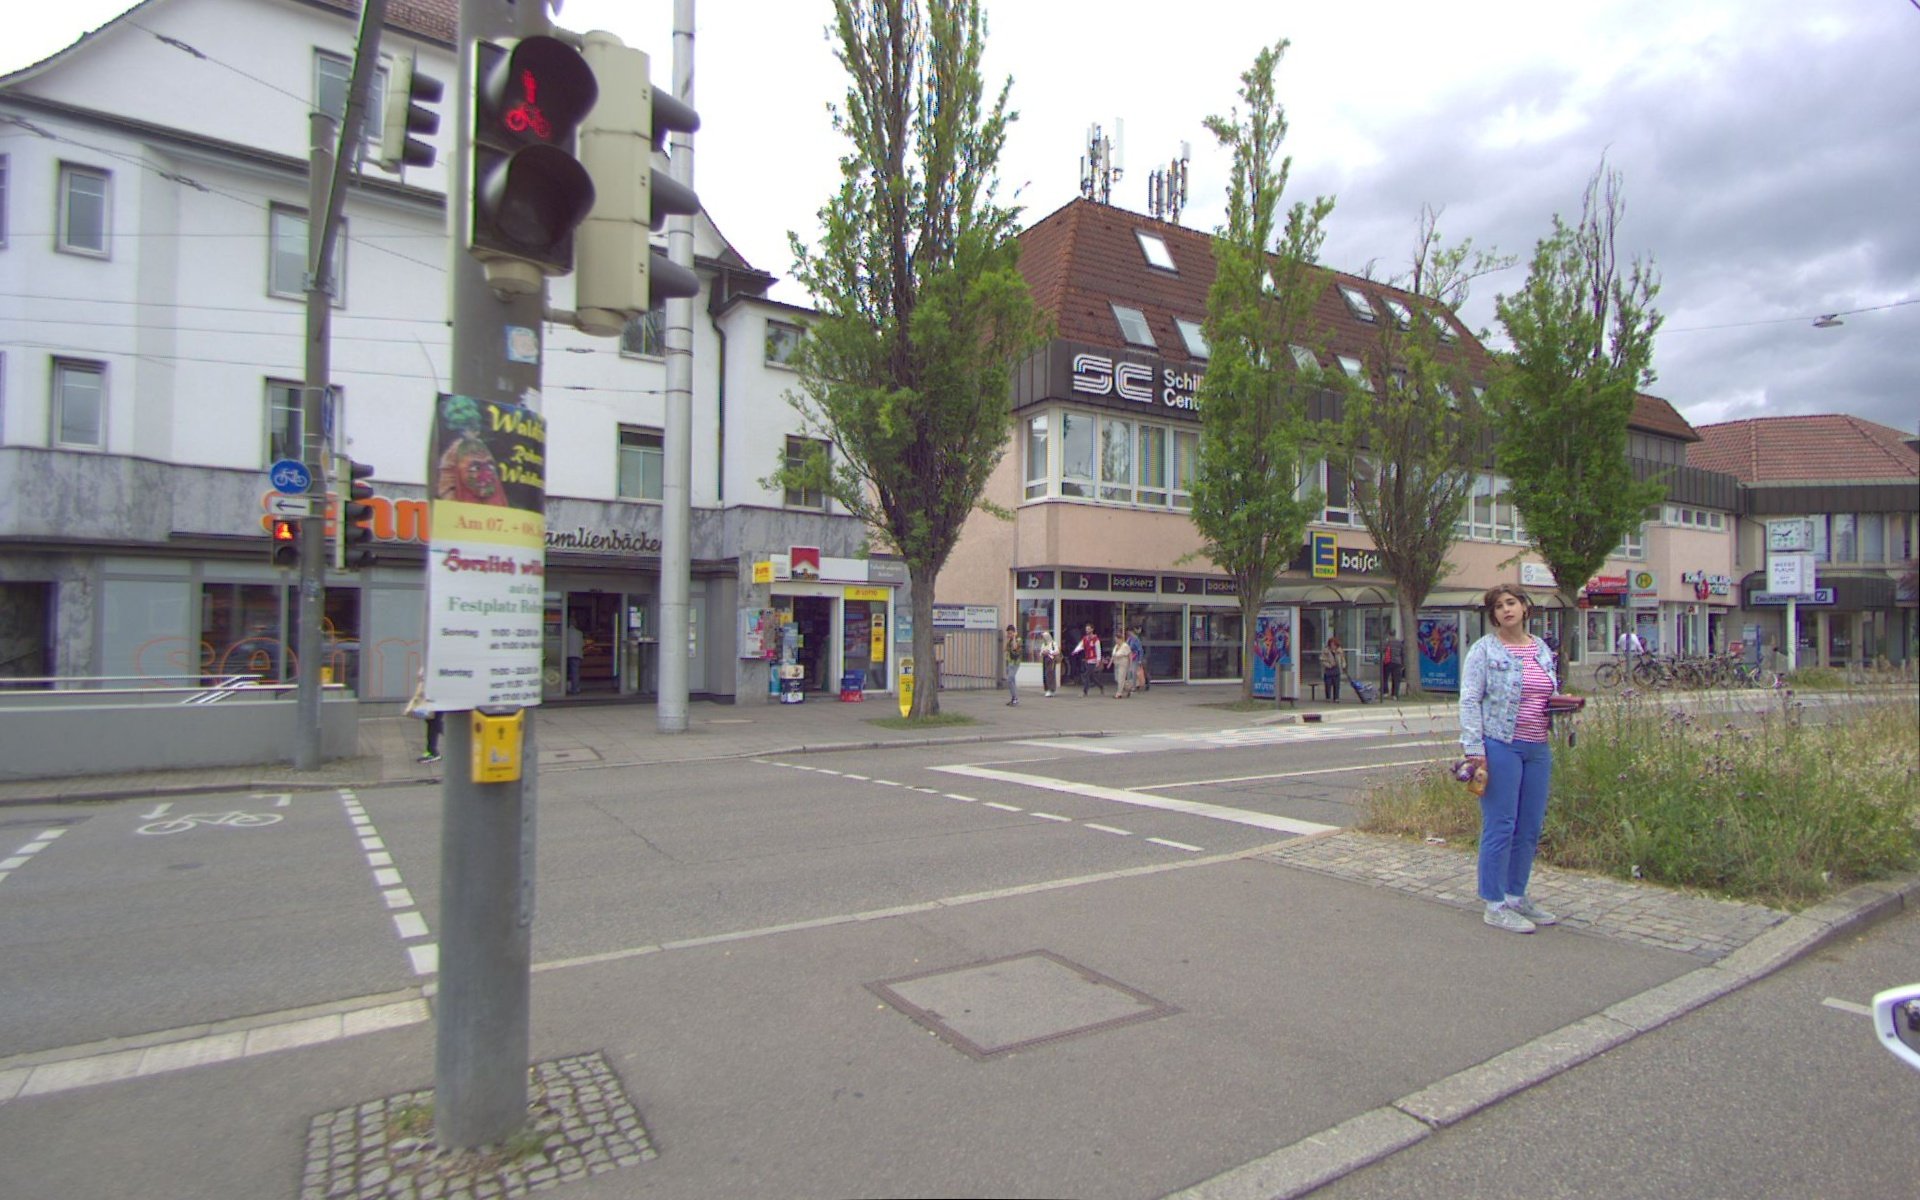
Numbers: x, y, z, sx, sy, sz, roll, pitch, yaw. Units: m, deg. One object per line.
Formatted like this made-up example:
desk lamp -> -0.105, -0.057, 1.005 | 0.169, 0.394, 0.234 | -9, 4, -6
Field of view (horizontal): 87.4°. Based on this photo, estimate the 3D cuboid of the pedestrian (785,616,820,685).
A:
pedestrian -> -3.901, 1.229, 24.800 | 0.584, 1.656, 0.607 | 0, 2, -43

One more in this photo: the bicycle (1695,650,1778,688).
bicycle -> 24.556, 2.158, 31.805 | 0.643, 1.104, 2.002 | 1, -2, -38

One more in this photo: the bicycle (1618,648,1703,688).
bicycle -> 21.077, 2.022, 30.247 | 0.642, 1.104, 2.006 | 1, -2, -34

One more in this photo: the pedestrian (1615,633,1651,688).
pedestrian -> 22.810, 2.029, 34.062 | 0.747, 1.788, 0.721 | 1, 2, -32

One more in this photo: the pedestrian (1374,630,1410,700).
pedestrian -> 10.652, 1.590, 24.775 | 0.709, 1.674, 0.580 | 0, 0, -44

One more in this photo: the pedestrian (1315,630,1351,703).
pedestrian -> 8.829, 1.551, 23.776 | 0.579, 1.674, 0.710 | 0, 0, 42

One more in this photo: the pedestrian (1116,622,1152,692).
pedestrian -> 4.419, 1.440, 25.505 | 0.608, 1.735, 0.583 | 1, 2, -31

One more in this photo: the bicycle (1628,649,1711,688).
bicycle -> 21.861, 2.095, 30.981 | 0.643, 1.104, 2.002 | 1, -2, -38

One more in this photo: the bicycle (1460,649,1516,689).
bicycle -> 15.150, 1.967, 28.789 | 1.909, 1.105, 0.530 | 2, -1, -32

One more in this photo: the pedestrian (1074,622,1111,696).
pedestrian -> 3.180, 1.402, 24.202 | 0.608, 1.735, 0.583 | 1, 2, -31

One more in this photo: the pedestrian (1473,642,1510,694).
pedestrian -> 14.548, 1.851, 27.489 | 0.580, 1.382, 0.709 | 0, 0, -27

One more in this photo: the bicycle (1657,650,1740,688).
bicycle -> 23.021, 2.144, 31.346 | 0.643, 1.104, 2.002 | 1, -2, -38

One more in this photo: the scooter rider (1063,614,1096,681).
scooter rider -> 3.212, 1.267, 27.102 | 0.581, 1.735, 0.609 | 1, 2, -33

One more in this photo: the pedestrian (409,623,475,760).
pedestrian -> -6.660, 1.150, 12.905 | 0.610, 1.656, 0.694 | 0, 2, -40

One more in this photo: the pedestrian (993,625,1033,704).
pedestrian -> 1.137, 1.382, 21.760 | 0.608, 1.656, 0.583 | 1, 2, -31

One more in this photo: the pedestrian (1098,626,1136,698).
pedestrian -> 3.722, 1.454, 23.804 | 0.608, 1.656, 0.583 | 1, 2, -31

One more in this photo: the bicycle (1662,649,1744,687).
bicycle -> 23.528, 2.131, 31.850 | 0.643, 1.104, 2.002 | 1, -2, -38

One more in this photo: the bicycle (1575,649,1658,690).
bicycle -> 19.903, 2.090, 30.478 | 0.644, 1.105, 1.999 | 2, -1, -43

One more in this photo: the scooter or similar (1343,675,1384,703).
scooter or similar -> 9.484, 2.089, 23.623 | 0.694, 0.609, 0.589 | 1, -1, -30

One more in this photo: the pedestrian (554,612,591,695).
pedestrian -> -8.051, 1.096, 20.862 | 0.581, 1.656, 0.609 | 1, 2, -32

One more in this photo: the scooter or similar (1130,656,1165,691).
scooter or similar -> 4.853, 1.900, 26.028 | 0.694, 0.860, 0.589 | 1, -1, -30

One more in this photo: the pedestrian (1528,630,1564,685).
pedestrian -> 19.968, 1.938, 34.222 | 0.747, 1.788, 0.721 | 1, 2, -32

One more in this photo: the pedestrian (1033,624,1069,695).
pedestrian -> 2.201, 1.436, 24.328 | 0.608, 1.656, 0.583 | 1, 2, -31

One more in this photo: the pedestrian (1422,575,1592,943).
pedestrian -> 2.685, 0.728, 4.933 | 0.657, 1.656, 0.499 | 1, -1, -36
